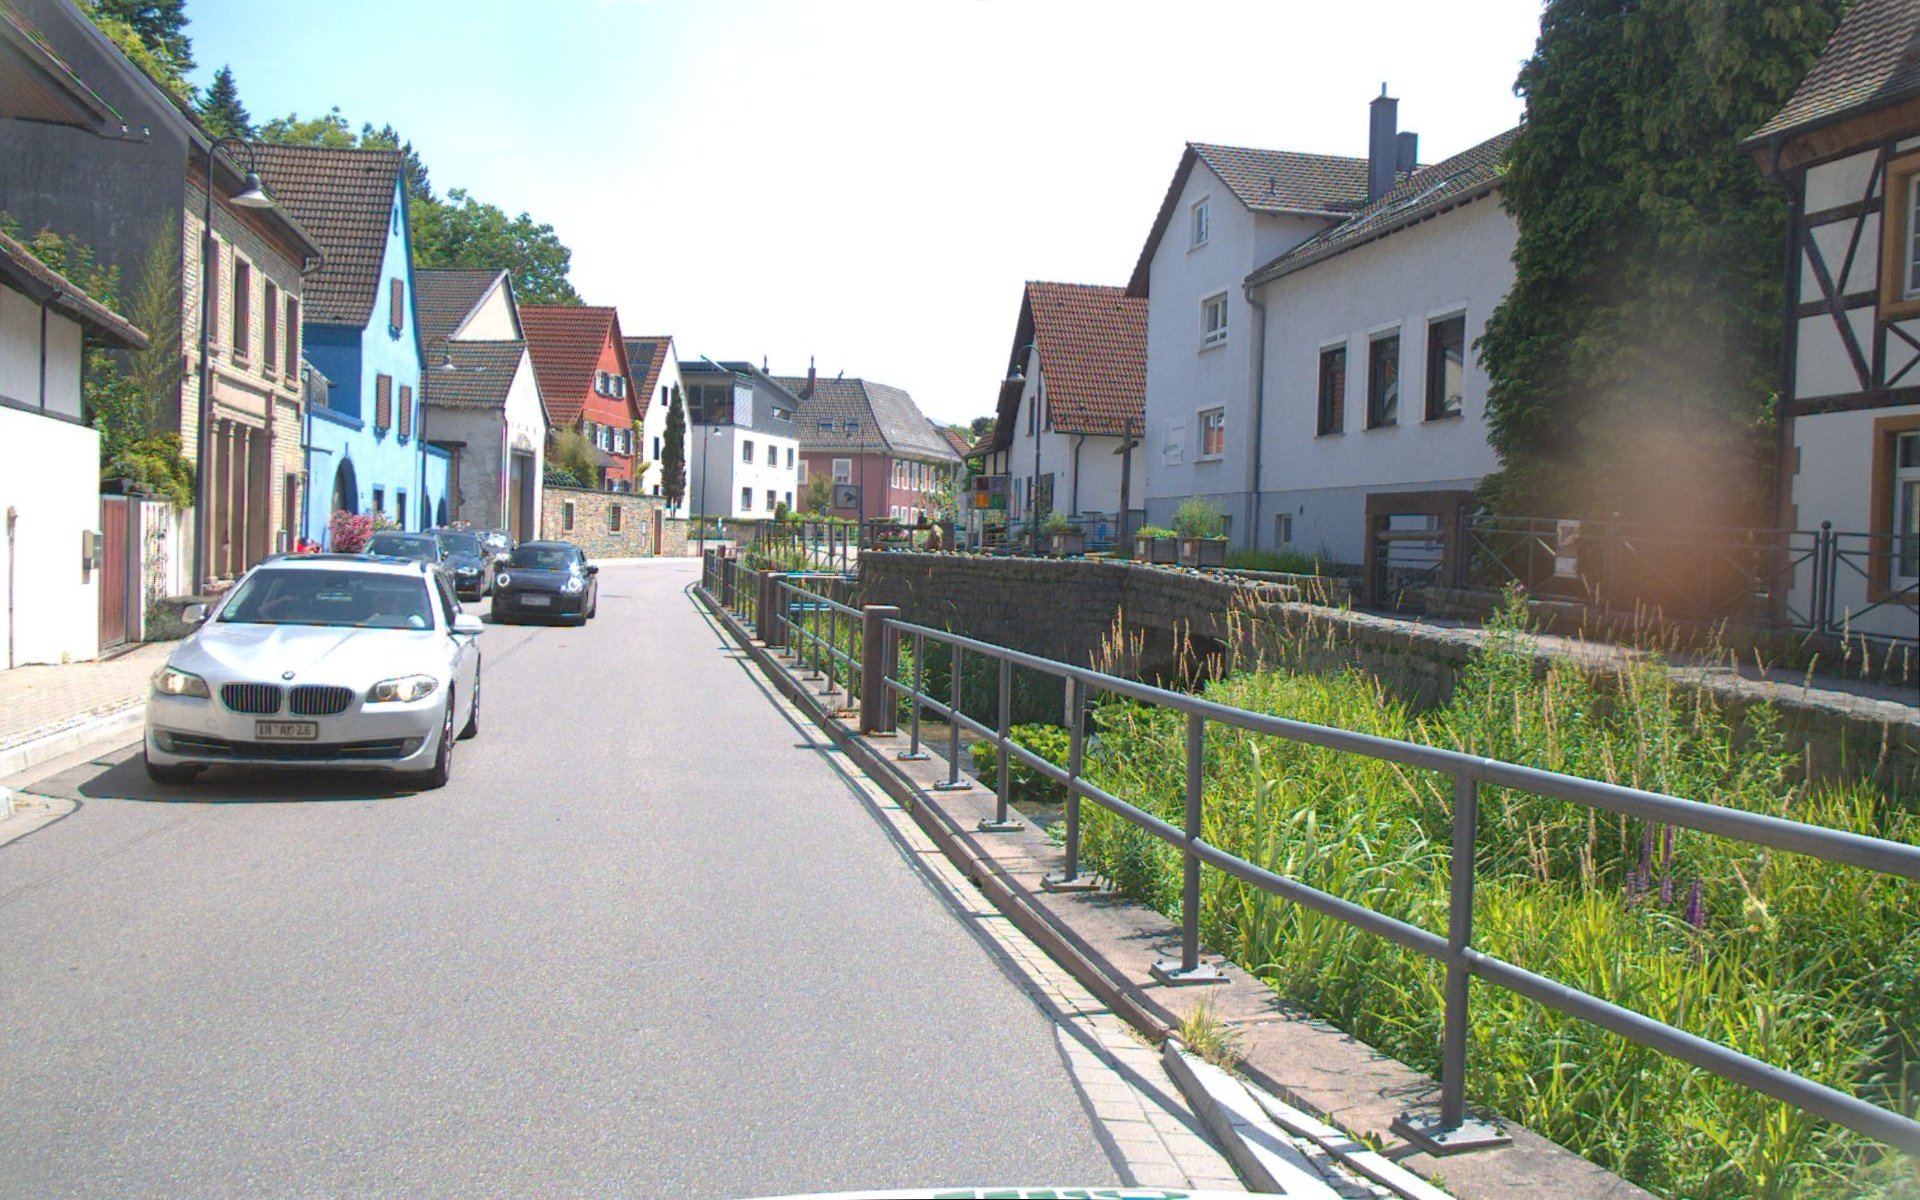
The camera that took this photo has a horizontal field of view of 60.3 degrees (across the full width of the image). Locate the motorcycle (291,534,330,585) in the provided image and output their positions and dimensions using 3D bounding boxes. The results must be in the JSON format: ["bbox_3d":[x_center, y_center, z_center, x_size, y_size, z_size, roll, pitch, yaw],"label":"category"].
[{"bbox_3d":[-13.834,-0.882,35.244,0.410,1.018,1.853,6,1,-13],"label":"motorcycle"}]

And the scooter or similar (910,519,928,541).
[{"bbox_3d":[-2.215,-3.748,89.209,0.630,1.162,1.807,0,2,-11],"label":"scooter or similar"}]

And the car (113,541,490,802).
[{"bbox_3d":[-4.560,0.390,12.153,1.863,1.526,4.598,2,1,-13],"label":"car"}]

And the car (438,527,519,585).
[{"bbox_3d":[-13.747,-1.295,47.380,1.685,1.556,3.850,1,3,-9],"label":"car"}]

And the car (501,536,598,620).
[{"bbox_3d":[-7.785,-0.445,31.640,1.669,1.491,4.422,0,1,-12],"label":"car"}]

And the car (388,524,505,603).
[{"bbox_3d":[-11.538,-0.880,37.435,1.851,1.488,4.659,5,2,-10],"label":"car"}]

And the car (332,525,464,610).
[{"bbox_3d":[-10.989,-0.665,32.628,1.923,1.491,4.532,2,1,-12],"label":"car"}]

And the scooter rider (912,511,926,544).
[{"bbox_3d":[-2.221,-3.891,89.239,0.630,1.761,0.553,2,1,-11],"label":"scooter rider"}]
